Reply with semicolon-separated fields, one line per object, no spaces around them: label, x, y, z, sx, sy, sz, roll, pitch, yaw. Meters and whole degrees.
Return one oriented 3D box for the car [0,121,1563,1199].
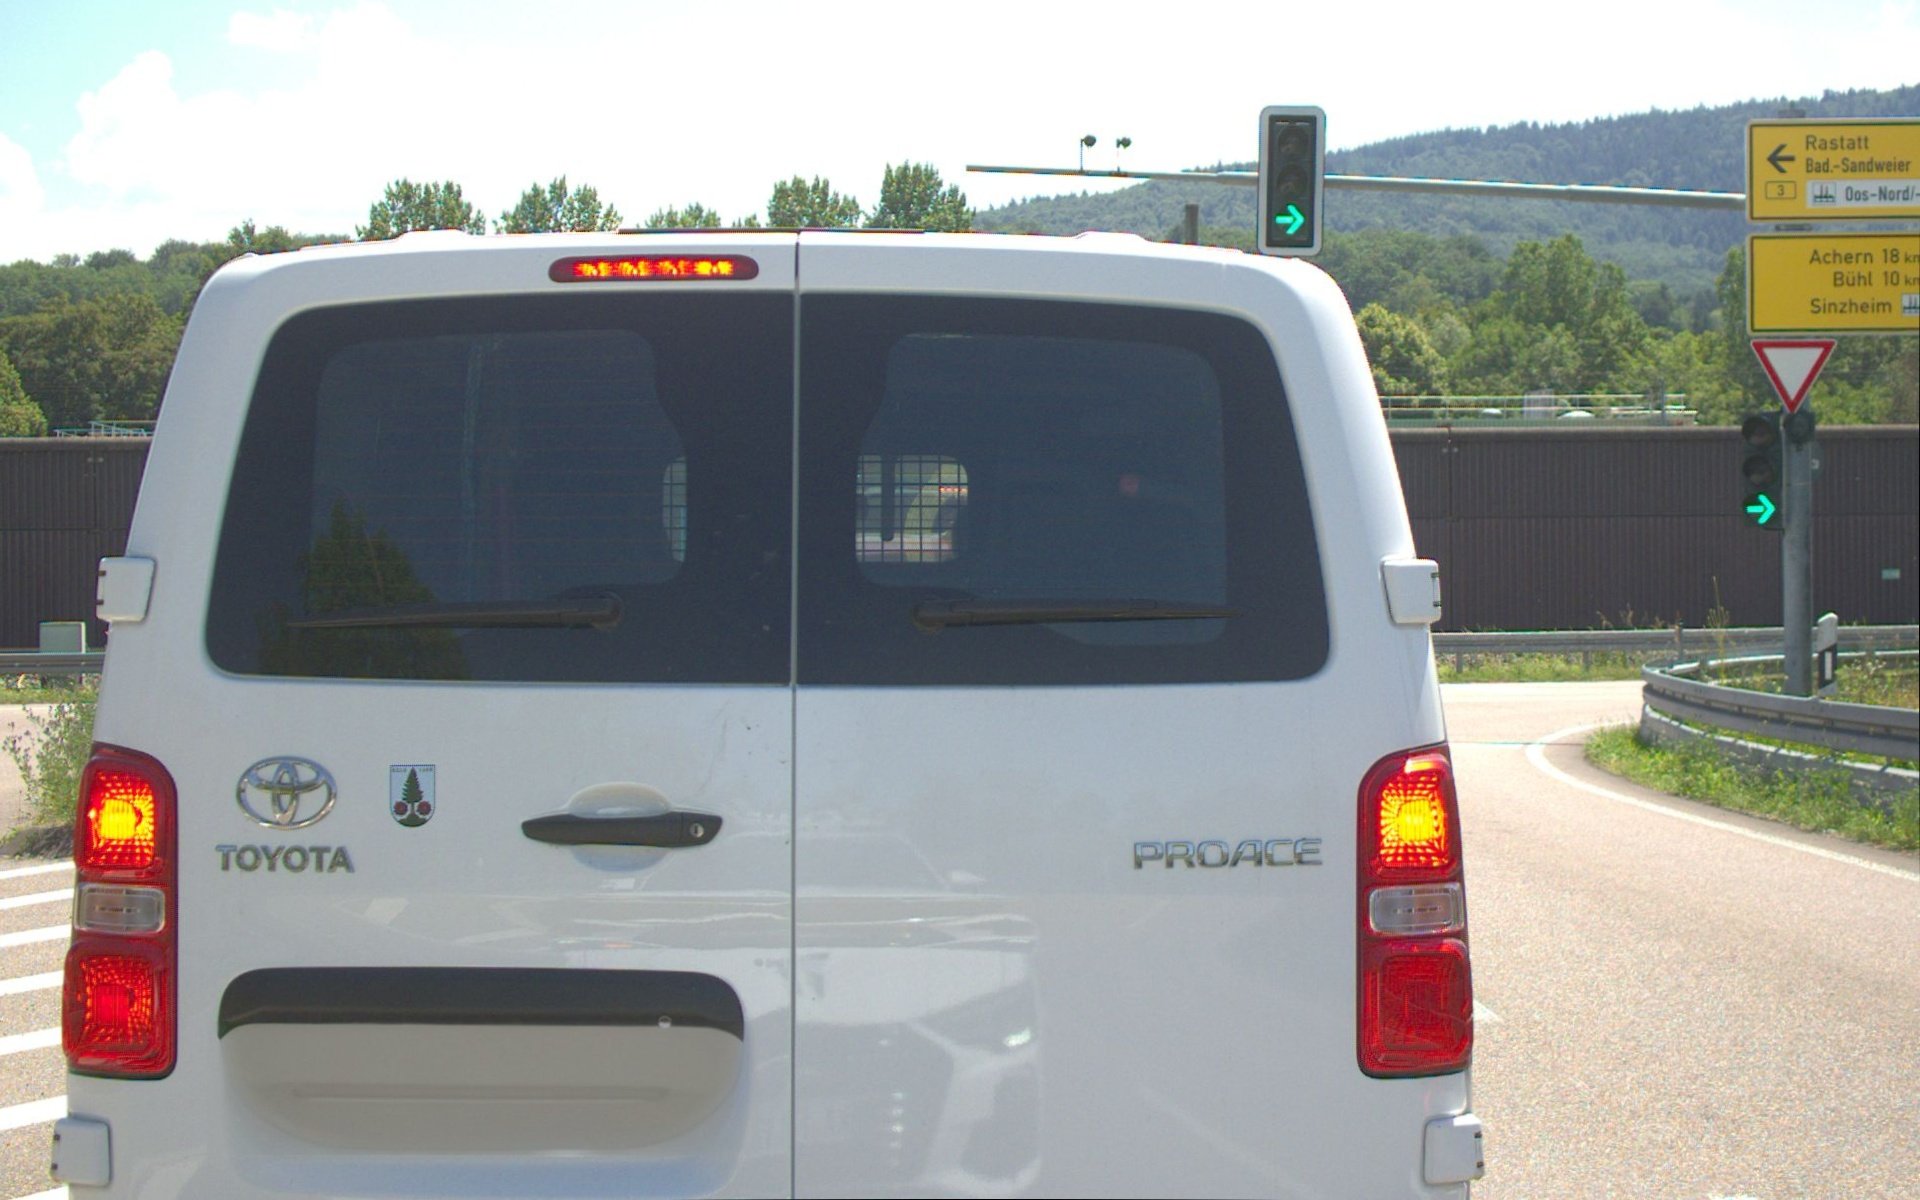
car;-0.245;0.442;5.931;1.814;2.011;4.000;0;1;-1
